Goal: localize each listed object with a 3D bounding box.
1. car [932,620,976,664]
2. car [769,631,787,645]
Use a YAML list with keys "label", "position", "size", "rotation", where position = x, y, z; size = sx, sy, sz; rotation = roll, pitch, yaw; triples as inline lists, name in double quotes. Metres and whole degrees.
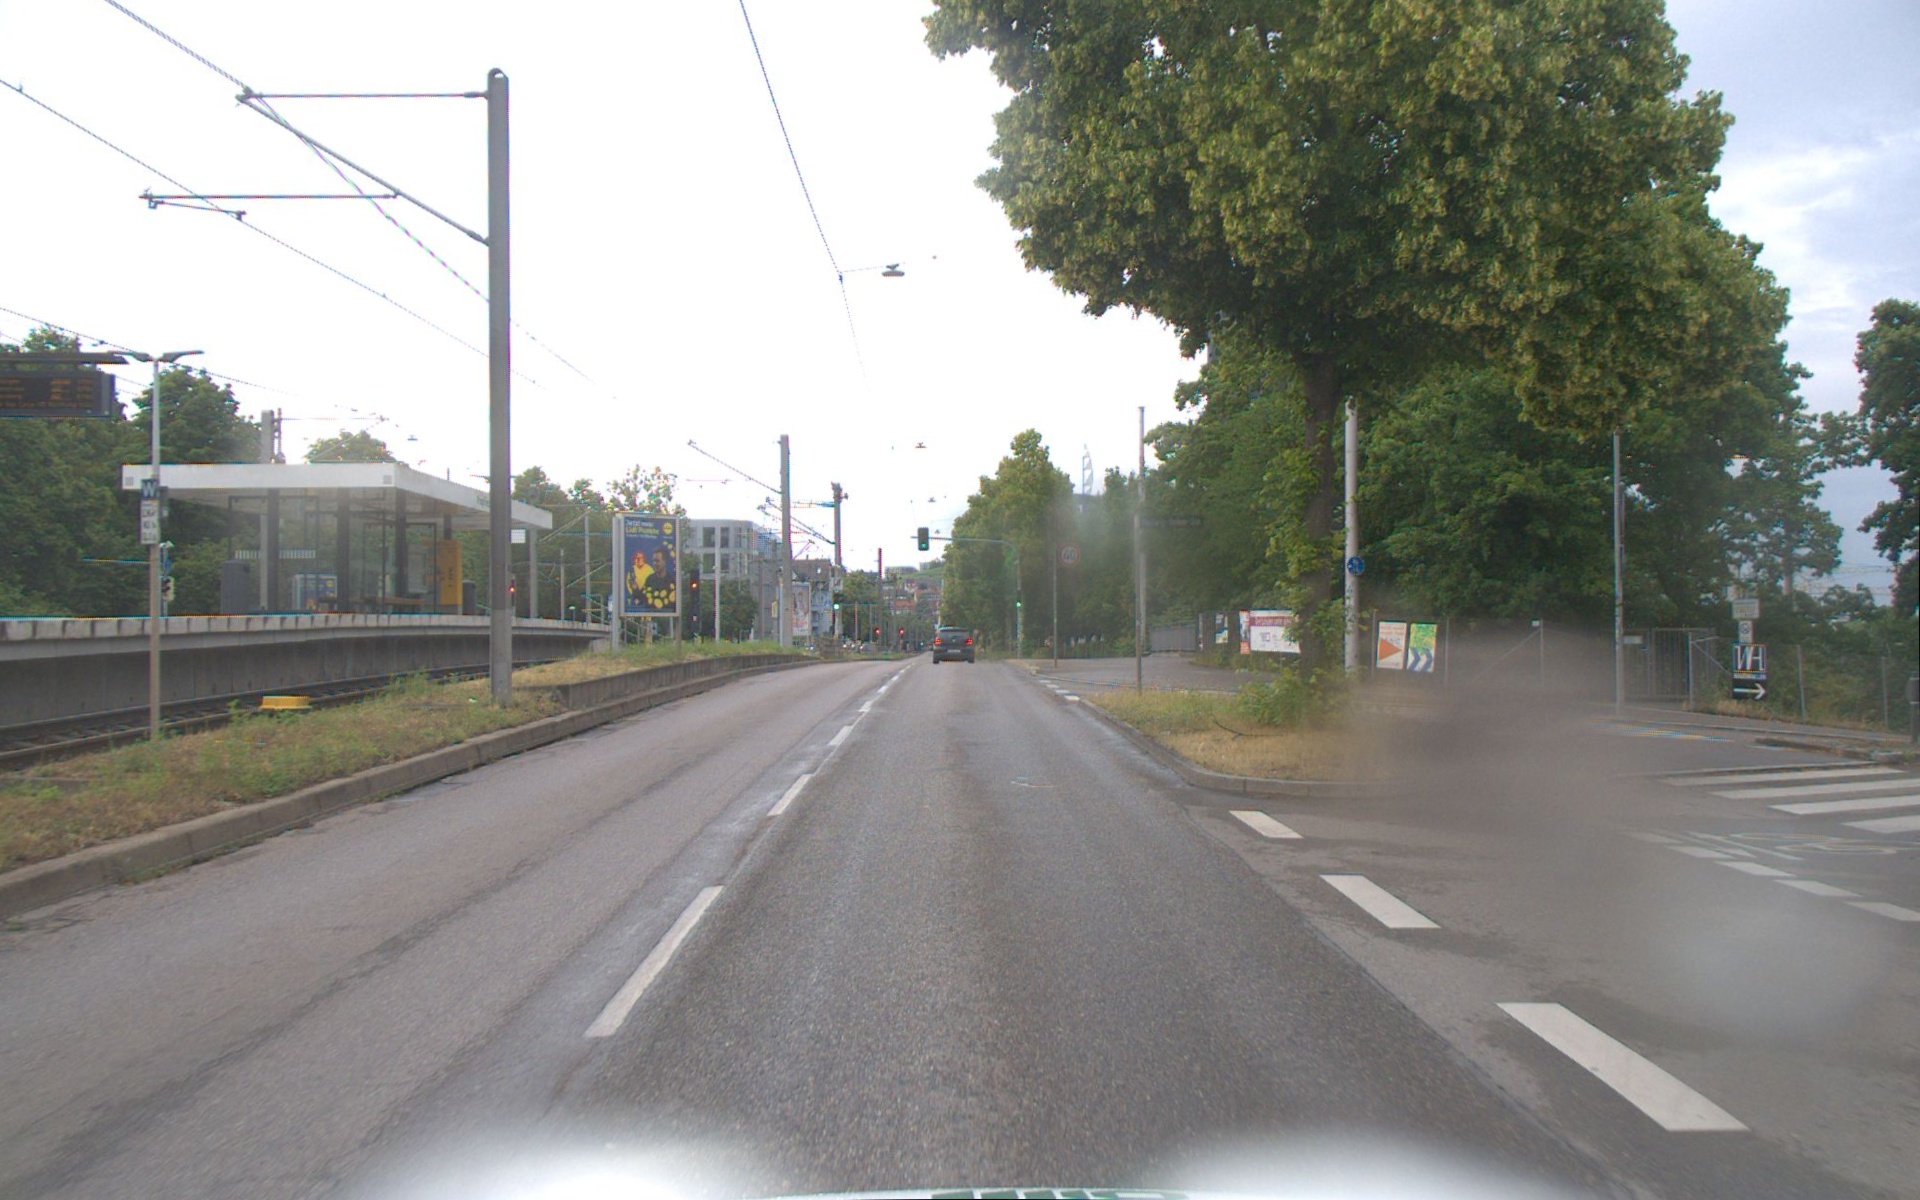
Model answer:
- label: "car"
  position: [-0.248, 1.644, 65.857]
  size: [1.691, 1.567, 4.000]
  rotation: [0, 1, -1]
- label: "car"
  position: [-25.004, 5.202, 227.475]
  size: [1.811, 1.660, 3.611]
  rotation: [2, 1, 4]
